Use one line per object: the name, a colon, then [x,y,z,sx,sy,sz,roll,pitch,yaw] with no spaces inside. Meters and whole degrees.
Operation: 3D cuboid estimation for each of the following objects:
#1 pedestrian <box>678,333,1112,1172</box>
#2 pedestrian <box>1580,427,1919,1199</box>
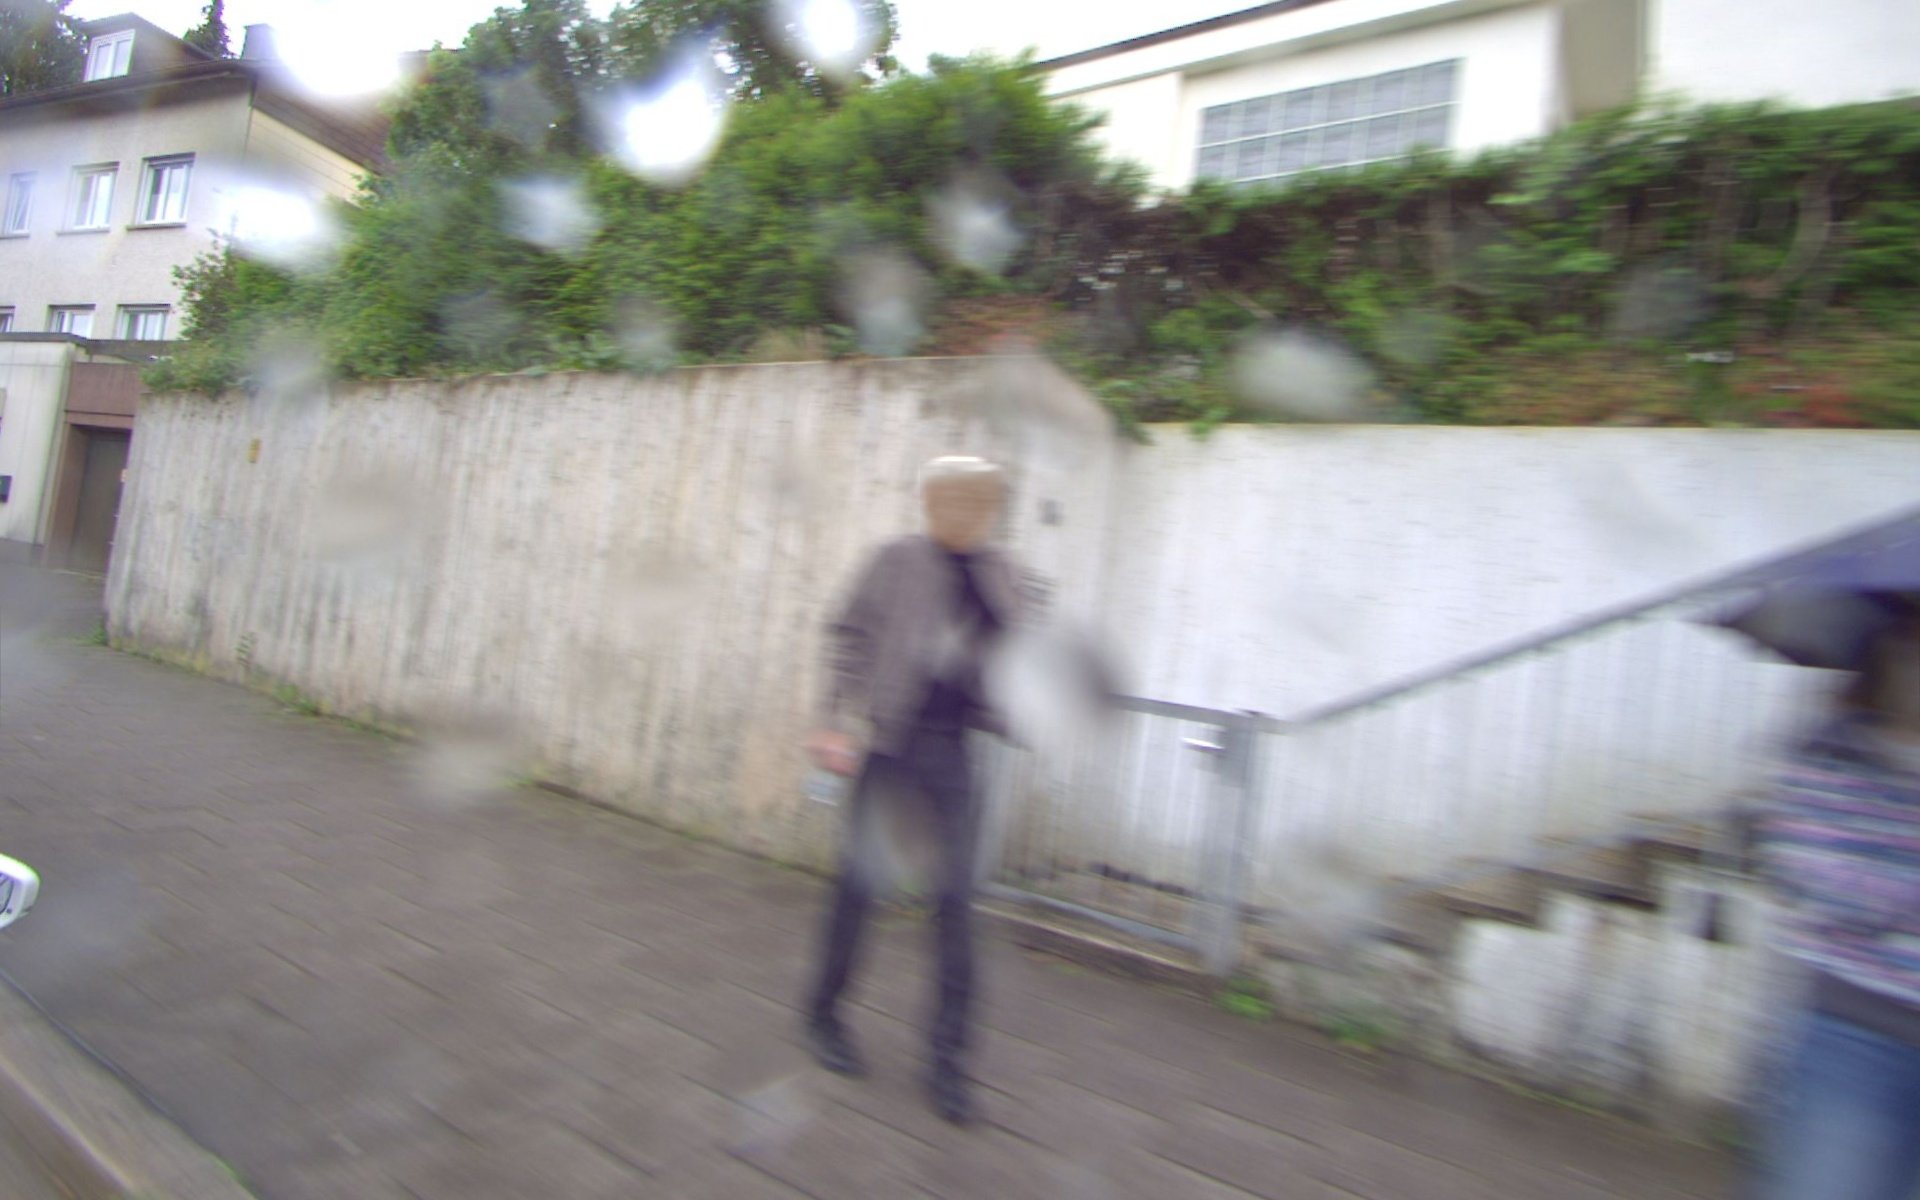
pedestrian: [-0.154,0.371,2.962,0.722,2.037,0.798,6,-1,31]
pedestrian: [1.664,0.703,1.631,0.995,1.802,0.794,6,0,32]
